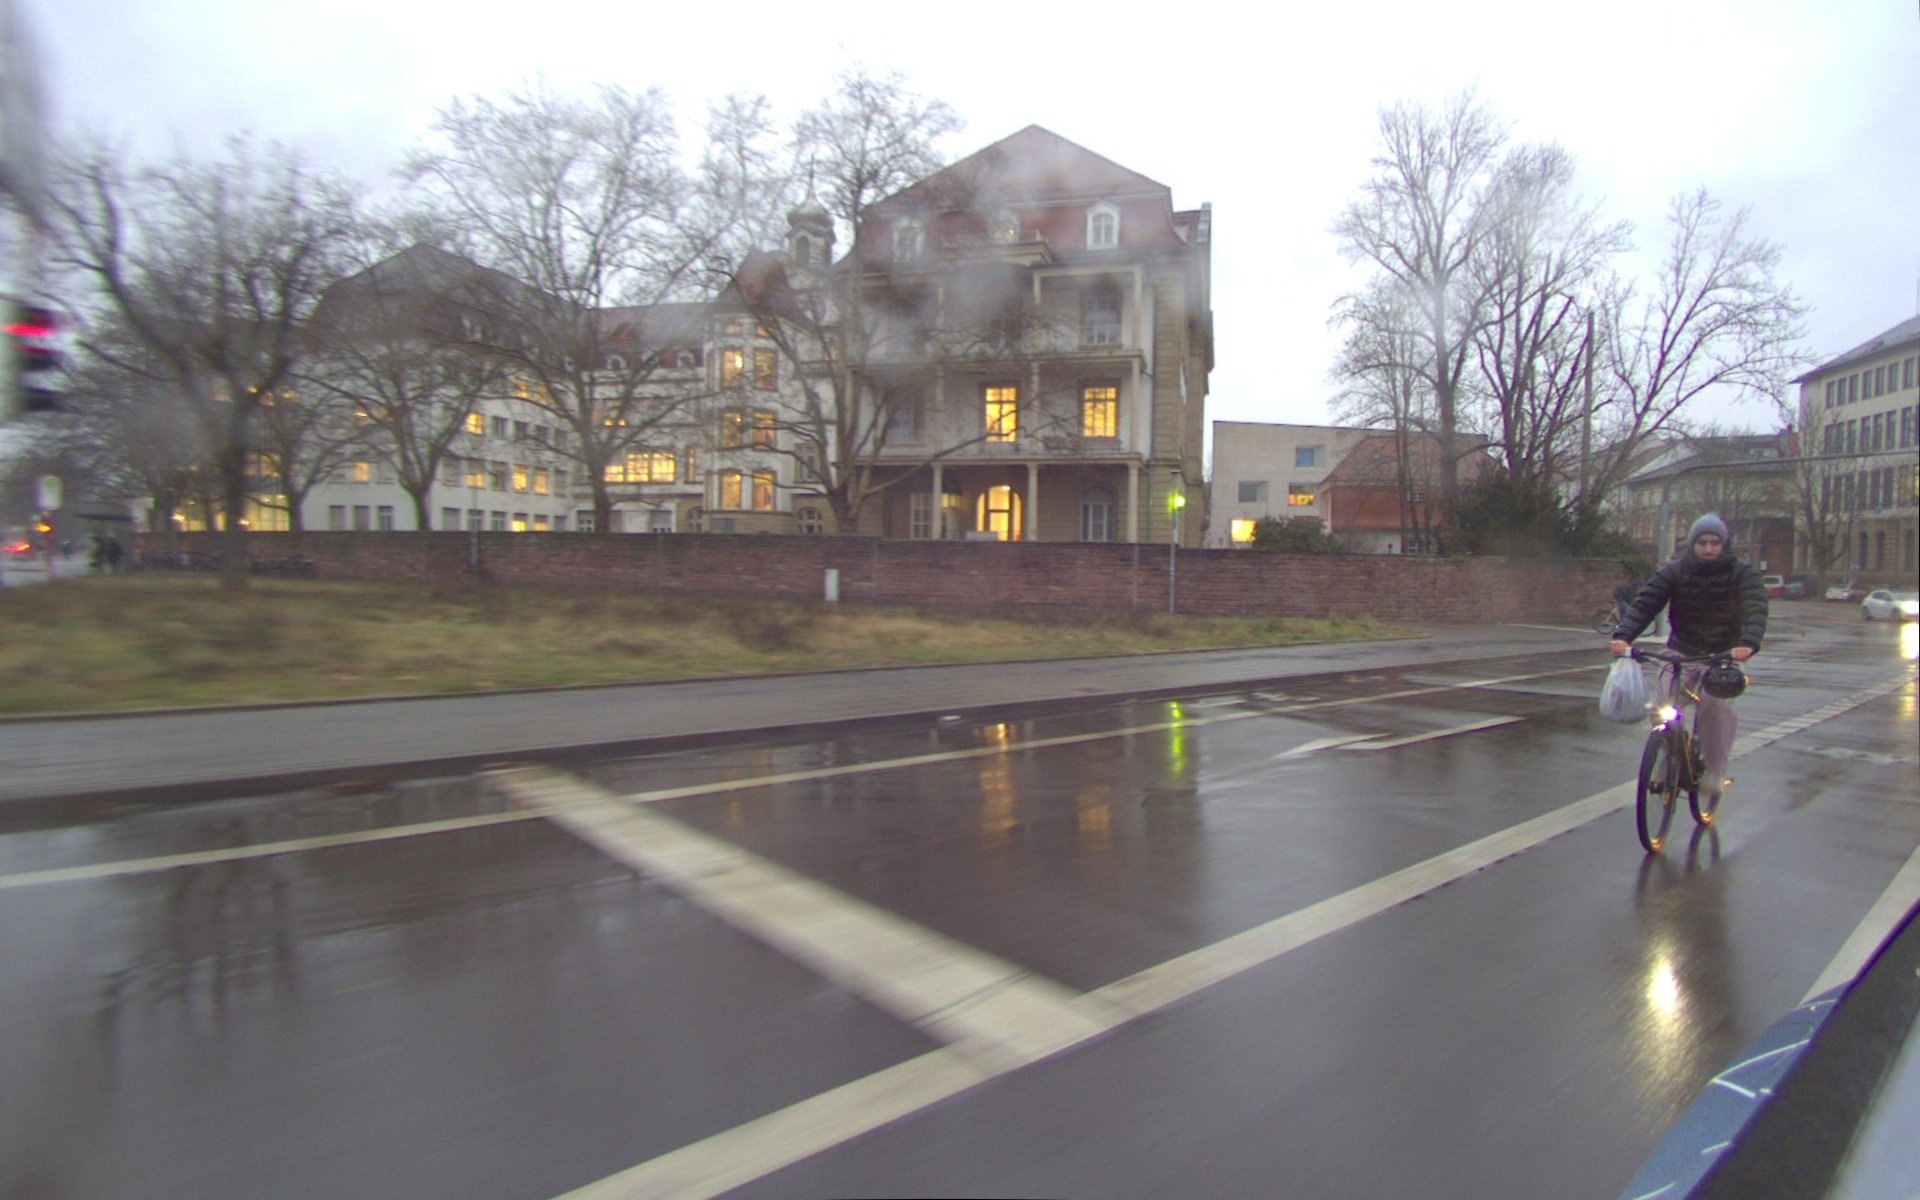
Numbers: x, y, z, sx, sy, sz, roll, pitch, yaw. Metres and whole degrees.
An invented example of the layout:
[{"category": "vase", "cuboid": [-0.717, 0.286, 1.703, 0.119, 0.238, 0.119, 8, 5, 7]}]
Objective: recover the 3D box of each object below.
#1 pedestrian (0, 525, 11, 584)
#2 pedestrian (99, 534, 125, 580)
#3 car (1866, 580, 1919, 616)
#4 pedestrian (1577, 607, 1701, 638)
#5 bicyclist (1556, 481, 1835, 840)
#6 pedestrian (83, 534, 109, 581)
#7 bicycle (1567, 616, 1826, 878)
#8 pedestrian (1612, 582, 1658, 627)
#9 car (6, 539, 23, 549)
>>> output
[{"category": "pedestrian", "cuboid": [-30.889, -1.469, 32.324, 0.794, 1.853, 0.947, 0, 3, -40]}, {"category": "pedestrian", "cuboid": [-35.180, -1.778, 41.979, 0.794, 1.853, 0.947, 0, 3, -40]}, {"category": "car", "cuboid": [43.379, -0.076, 45.841, 1.763, 1.564, 4.100, 1, 1, 15]}, {"category": "pedestrian", "cuboid": [21.053, 0.685, 31.468, 3.061, 0.942, 0.942, 0, 0, 20]}, {"category": "bicyclist", "cuboid": [4.444, 0.283, 6.131, 1.213, 1.906, 1.027, -2, 3, -37]}, {"category": "pedestrian", "cuboid": [-34.594, -1.706, 40.542, 0.794, 1.853, 0.947, 0, 3, -40]}, {"category": "bicycle", "cuboid": [4.517, 0.783, 6.162, 1.870, 1.237, 0.794, -3, 4, -39]}, {"category": "pedestrian", "cuboid": [21.006, 0.117, 31.512, 0.970, 1.332, 0.810, 3, 2, 20]}, {"category": "car", "cuboid": [-160.440, -9.485, 171.777, 1.661, 1.572, 3.575, 0, 3, -35]}]
